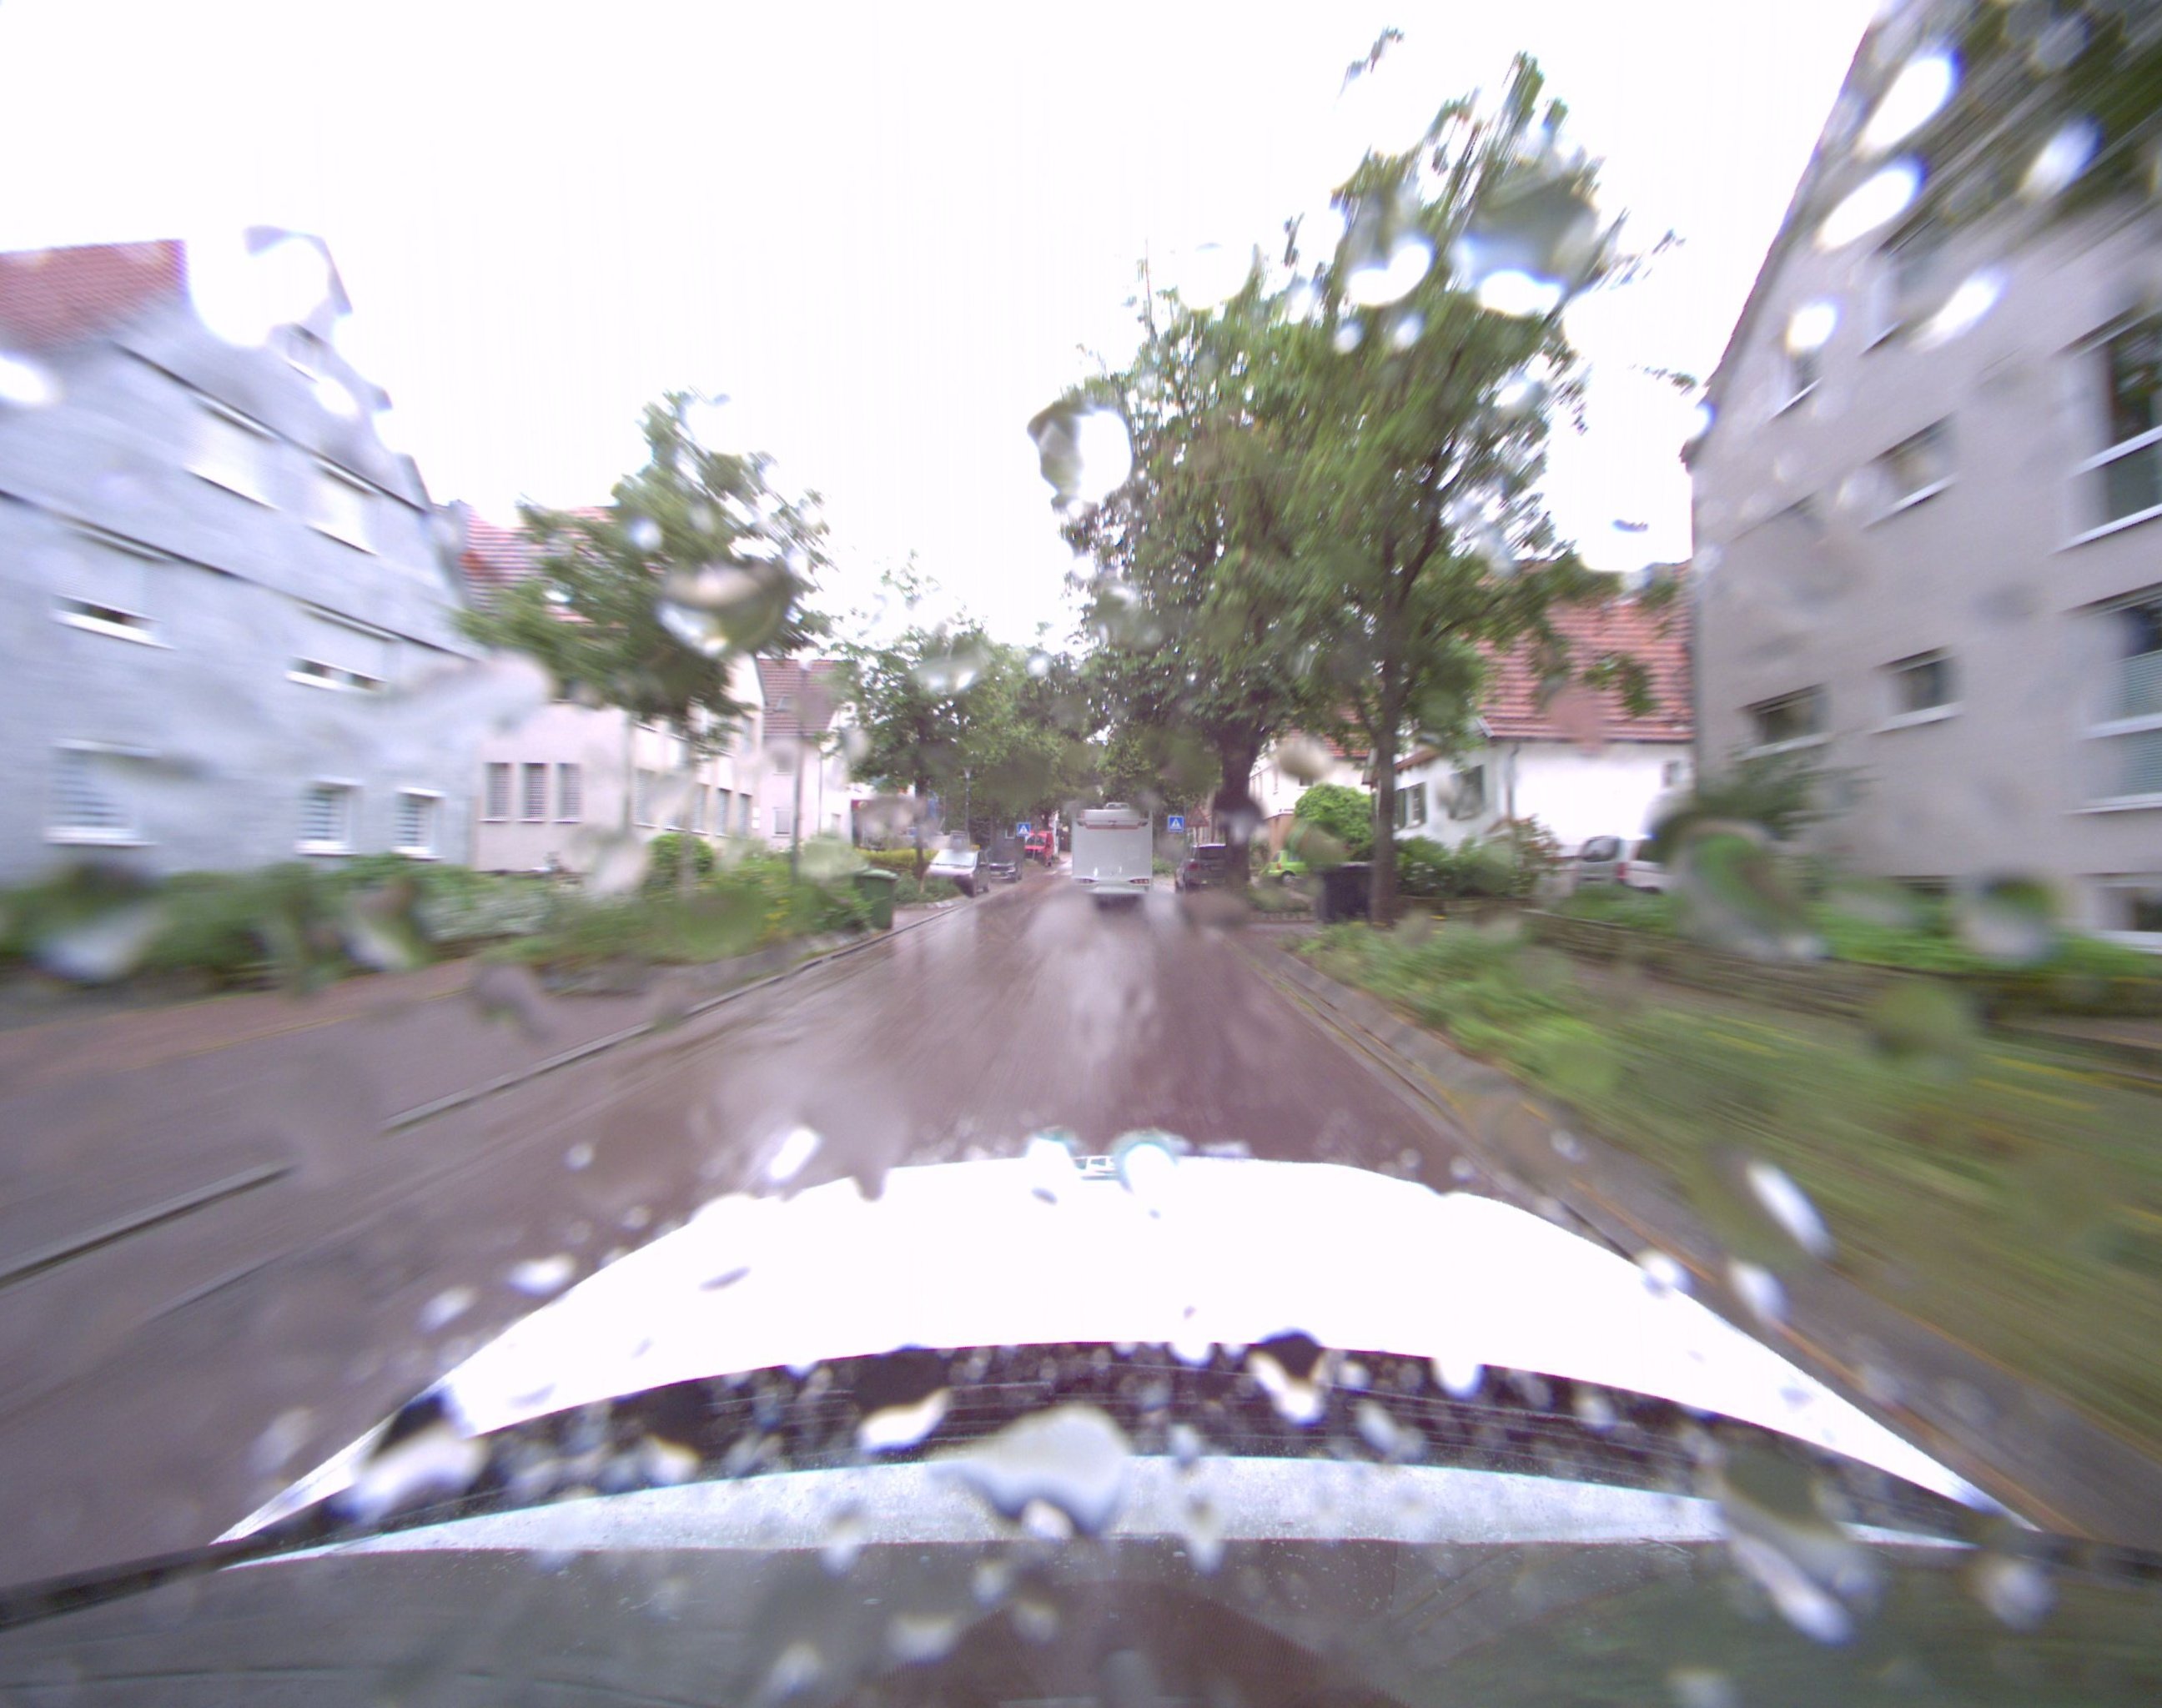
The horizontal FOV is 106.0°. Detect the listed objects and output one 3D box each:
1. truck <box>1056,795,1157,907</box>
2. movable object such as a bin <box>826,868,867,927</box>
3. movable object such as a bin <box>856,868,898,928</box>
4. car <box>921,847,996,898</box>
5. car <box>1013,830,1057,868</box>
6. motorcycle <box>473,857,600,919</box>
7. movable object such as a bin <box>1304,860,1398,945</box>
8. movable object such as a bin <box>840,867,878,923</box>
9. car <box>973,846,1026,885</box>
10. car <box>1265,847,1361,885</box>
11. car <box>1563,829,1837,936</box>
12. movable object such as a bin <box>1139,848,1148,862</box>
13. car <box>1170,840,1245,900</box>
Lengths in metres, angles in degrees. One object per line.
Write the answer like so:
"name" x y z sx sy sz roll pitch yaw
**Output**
"truck" 0.811 -0.090 24.992 2.684 2.986 6.240 1 0 2
"movable object such as a bin" -4.581 0.835 15.957 0.608 1.111 0.565 0 1 4
"movable object such as a bin" -3.892 0.835 15.547 0.640 1.111 0.537 0 1 3
"car" -4.020 0.568 27.272 1.640 1.533 3.870 2 1 4
"car" -3.135 -0.385 56.910 2.293 2.483 5.793 1 1 5
"motorcycle" -10.898 0.668 16.345 1.974 1.162 0.818 1 0 2
"movable object such as a bin" 4.367 0.763 13.269 1.219 1.315 1.135 0 0 4
"movable object such as a bin" -4.536 0.823 16.671 0.608 1.111 0.565 0 1 4
"car" -3.549 0.462 36.230 1.765 1.553 4.002 3 1 2
"car" 9.185 0.449 32.450 3.355 1.430 1.630 -1 0 -2
"car" 13.531 0.602 18.027 4.446 1.900 2.000 4 0 0
"movable object such as a bin" 5.448 0.055 70.576 0.718 1.212 0.727 1 0 2
"car" 4.109 0.473 27.085 1.907 1.792 4.490 1 0 2
